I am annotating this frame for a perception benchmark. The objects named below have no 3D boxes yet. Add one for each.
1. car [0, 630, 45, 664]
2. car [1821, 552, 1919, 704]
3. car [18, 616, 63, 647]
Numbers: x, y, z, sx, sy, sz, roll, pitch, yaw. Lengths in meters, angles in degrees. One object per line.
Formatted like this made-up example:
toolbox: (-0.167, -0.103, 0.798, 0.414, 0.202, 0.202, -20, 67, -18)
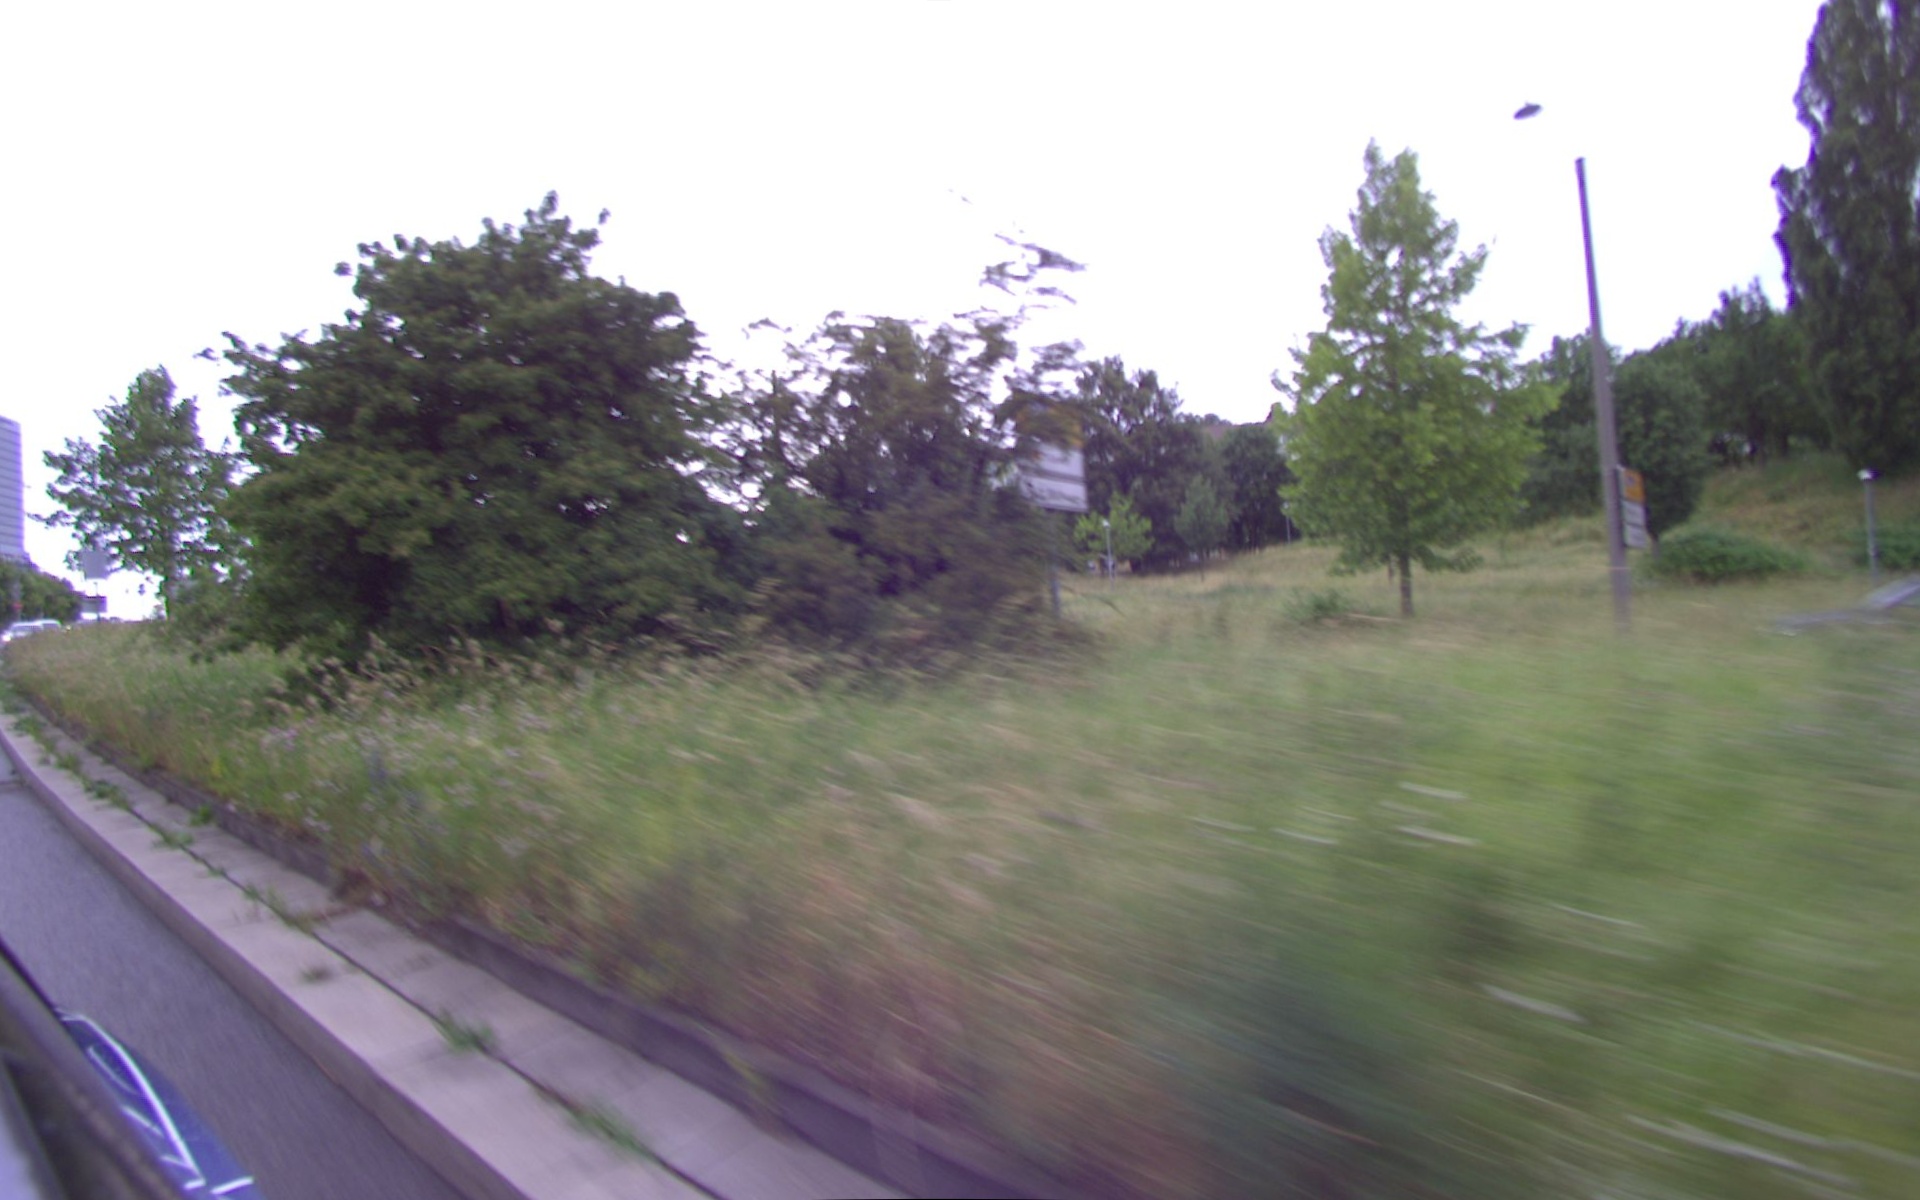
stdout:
car: (-51.359, 2.578, 55.114, 1.968, 1.785, 4.007, 2, -4, -39)
car: (14.494, 0.338, 13.886, 3.996, 2.028, 1.974, -1, 2, 39)
car: (-58.696, 2.001, 64.657, 1.969, 1.785, 4.006, -2, 0, -41)
